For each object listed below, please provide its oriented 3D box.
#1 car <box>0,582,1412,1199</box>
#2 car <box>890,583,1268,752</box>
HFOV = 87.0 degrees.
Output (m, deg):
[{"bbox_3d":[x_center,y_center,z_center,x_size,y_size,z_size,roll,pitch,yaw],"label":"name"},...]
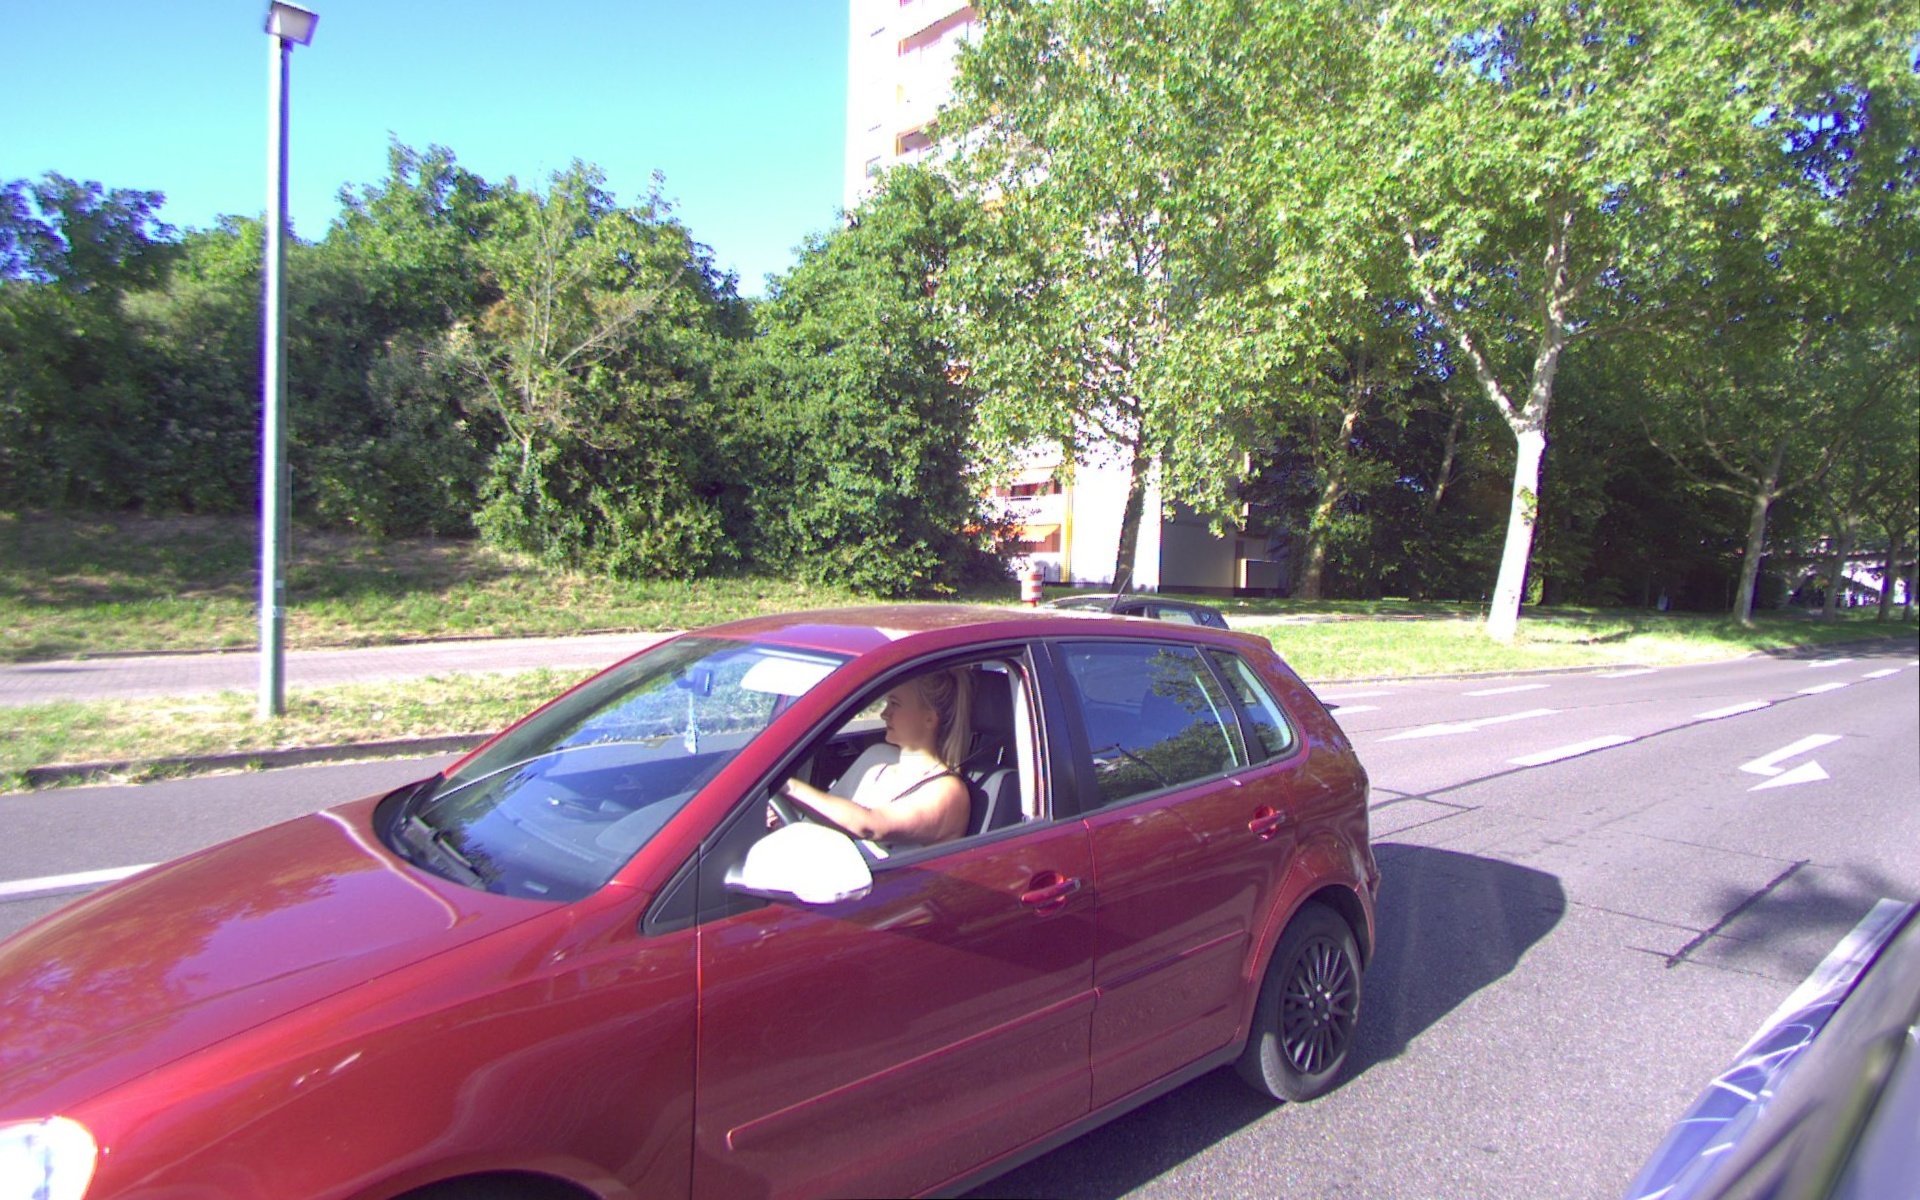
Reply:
[{"bbox_3d":[-0.470,0.692,2.751,3.627,1.434,1.626,0,1,-39],"label":"car"},{"bbox_3d":[1.344,0.593,10.856,3.818,1.487,1.752,0,1,-34],"label":"car"}]
